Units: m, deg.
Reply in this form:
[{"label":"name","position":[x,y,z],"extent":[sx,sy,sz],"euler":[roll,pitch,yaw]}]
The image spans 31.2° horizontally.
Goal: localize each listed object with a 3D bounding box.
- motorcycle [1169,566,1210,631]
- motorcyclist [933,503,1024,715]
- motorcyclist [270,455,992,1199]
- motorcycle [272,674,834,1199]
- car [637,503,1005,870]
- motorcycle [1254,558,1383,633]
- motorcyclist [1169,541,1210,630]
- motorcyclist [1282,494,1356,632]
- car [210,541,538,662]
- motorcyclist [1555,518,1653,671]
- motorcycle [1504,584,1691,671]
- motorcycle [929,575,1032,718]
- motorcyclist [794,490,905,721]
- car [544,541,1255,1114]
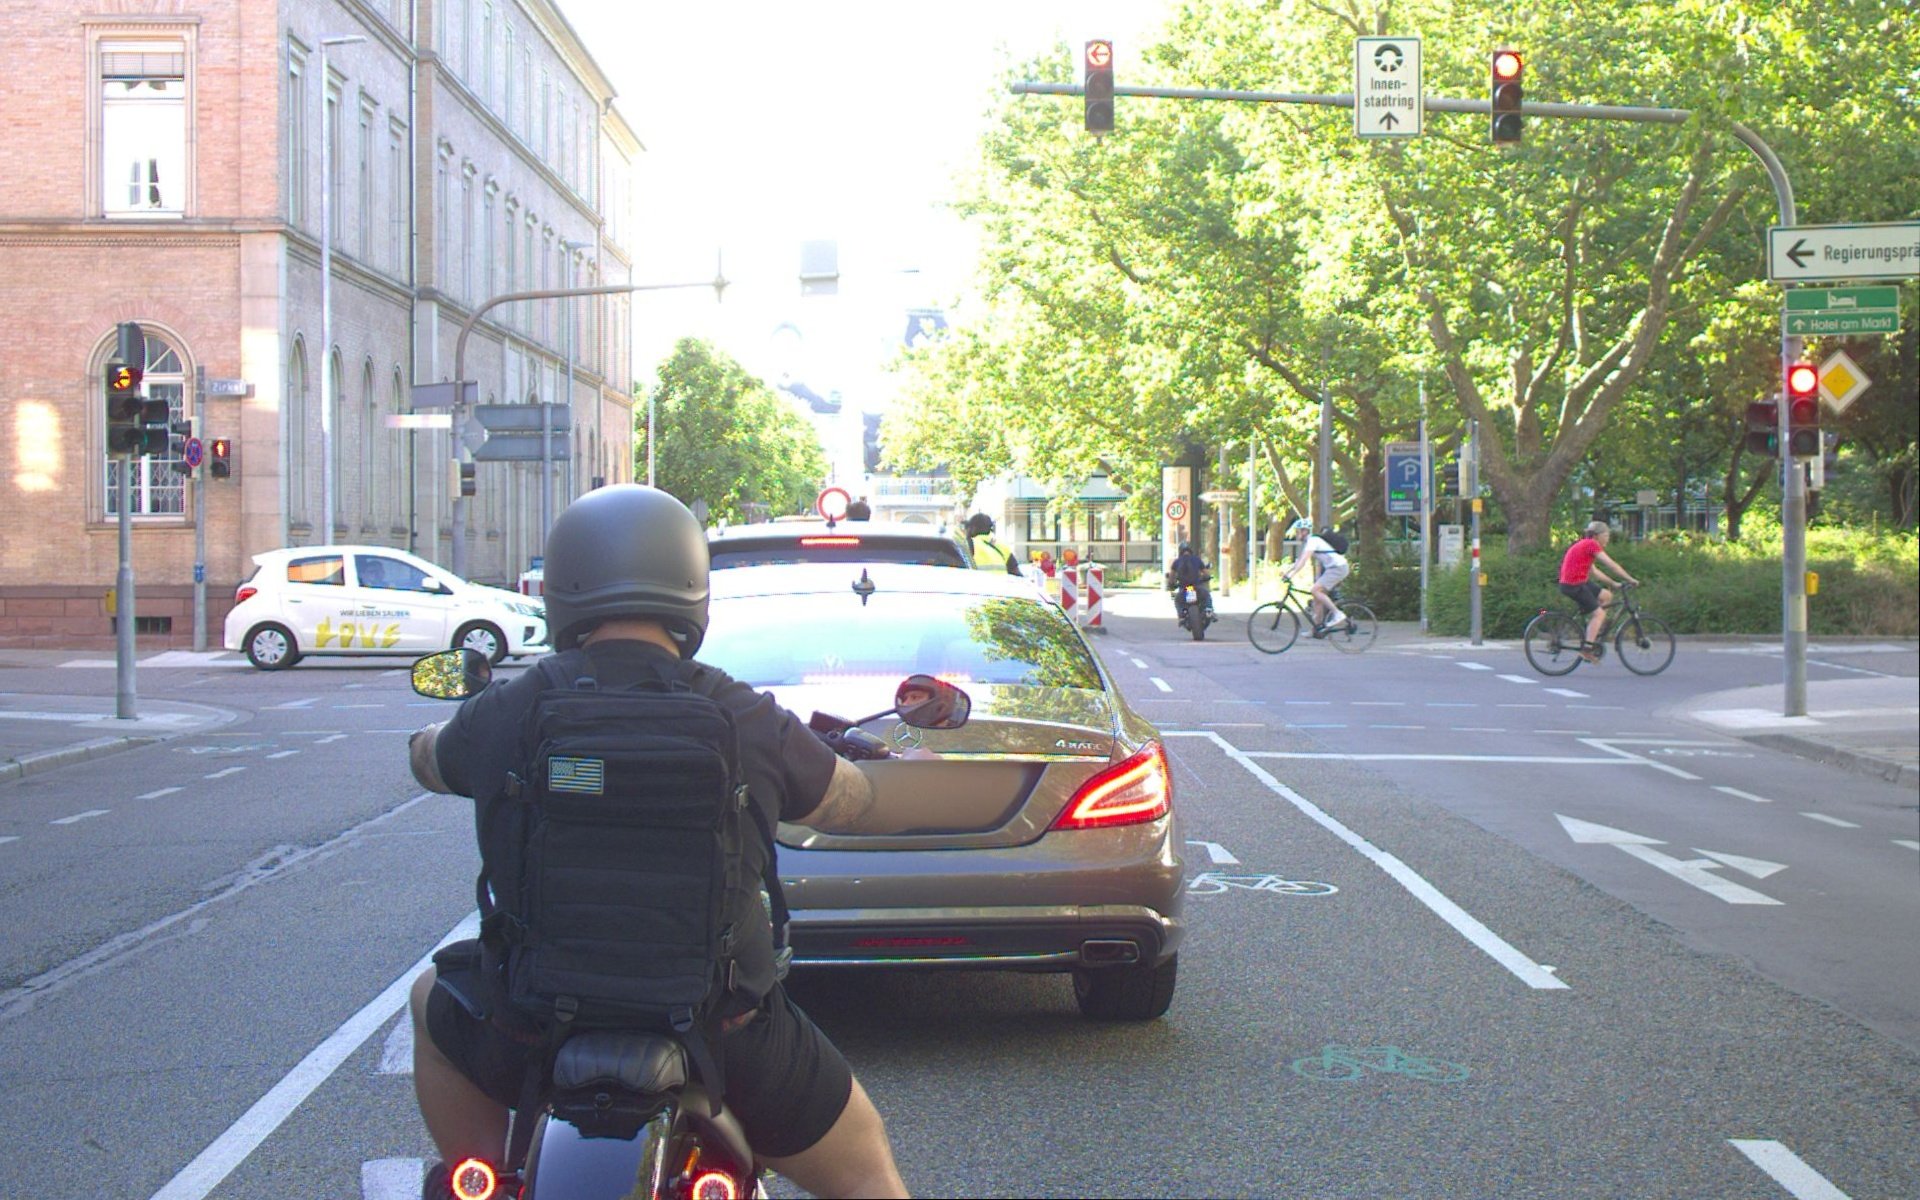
[{"label":"motorcycle","position":[3.990,-0.031,59.689],"extent":[0.626,1.093,2.087],"euler":[1,1,6]},{"label":"motorcyclist","position":[0.149,0.068,28.659],"extent":[0.717,1.737,0.751],"euler":[1,0,-1]},{"label":"motorcyclist","position":[-0.467,0.602,5.341],"extent":[0.990,1.605,1.120],"euler":[1,0,-1]},{"label":"motorcycle","position":[-0.564,0.772,5.435],"extent":[0.660,1.236,2.058],"euler":[1,1,-1]},{"label":"car","position":[-0.651,0.374,17.627],"extent":[1.651,1.646,4.000],"euler":[1,1,-1]},{"label":"motorcycle","position":[4.855,-0.064,46.612],"extent":[1.719,0.998,0.416],"euler":[0,1,4]},{"label":"motorcyclist","position":[3.992,-0.257,59.787],"extent":[0.643,1.532,0.942],"euler":[1,0,6]},{"label":"motorcyclist","position":[4.856,-0.501,46.593],"extent":[0.983,1.870,0.376],"euler":[0,0,4]},{"label":"car","position":[-6.984,0.011,41.179],"extent":[3.744,1.413,1.440],"euler":[0,1,-4]},{"label":"motorcyclist","position":[7.332,-0.061,39.167],"extent":[0.985,1.716,0.551],"euler":[1,0,0]},{"label":"motorcycle","position":[7.251,0.310,39.168],"extent":[2.012,0.958,0.580],"euler":[1,0,0]},{"label":"motorcycle","position":[0.155,0.366,28.614],"extent":[0.797,1.128,2.236],"euler":[1,1,-1]},{"label":"motorcyclist","position":[-0.864,0.037,27.100],"extent":[0.831,1.782,0.913],"euler":[1,0,-1]},{"label":"car","position":[-0.408,0.574,11.141],"extent":[1.824,1.481,4.334],"euler":[1,1,-7]}]
